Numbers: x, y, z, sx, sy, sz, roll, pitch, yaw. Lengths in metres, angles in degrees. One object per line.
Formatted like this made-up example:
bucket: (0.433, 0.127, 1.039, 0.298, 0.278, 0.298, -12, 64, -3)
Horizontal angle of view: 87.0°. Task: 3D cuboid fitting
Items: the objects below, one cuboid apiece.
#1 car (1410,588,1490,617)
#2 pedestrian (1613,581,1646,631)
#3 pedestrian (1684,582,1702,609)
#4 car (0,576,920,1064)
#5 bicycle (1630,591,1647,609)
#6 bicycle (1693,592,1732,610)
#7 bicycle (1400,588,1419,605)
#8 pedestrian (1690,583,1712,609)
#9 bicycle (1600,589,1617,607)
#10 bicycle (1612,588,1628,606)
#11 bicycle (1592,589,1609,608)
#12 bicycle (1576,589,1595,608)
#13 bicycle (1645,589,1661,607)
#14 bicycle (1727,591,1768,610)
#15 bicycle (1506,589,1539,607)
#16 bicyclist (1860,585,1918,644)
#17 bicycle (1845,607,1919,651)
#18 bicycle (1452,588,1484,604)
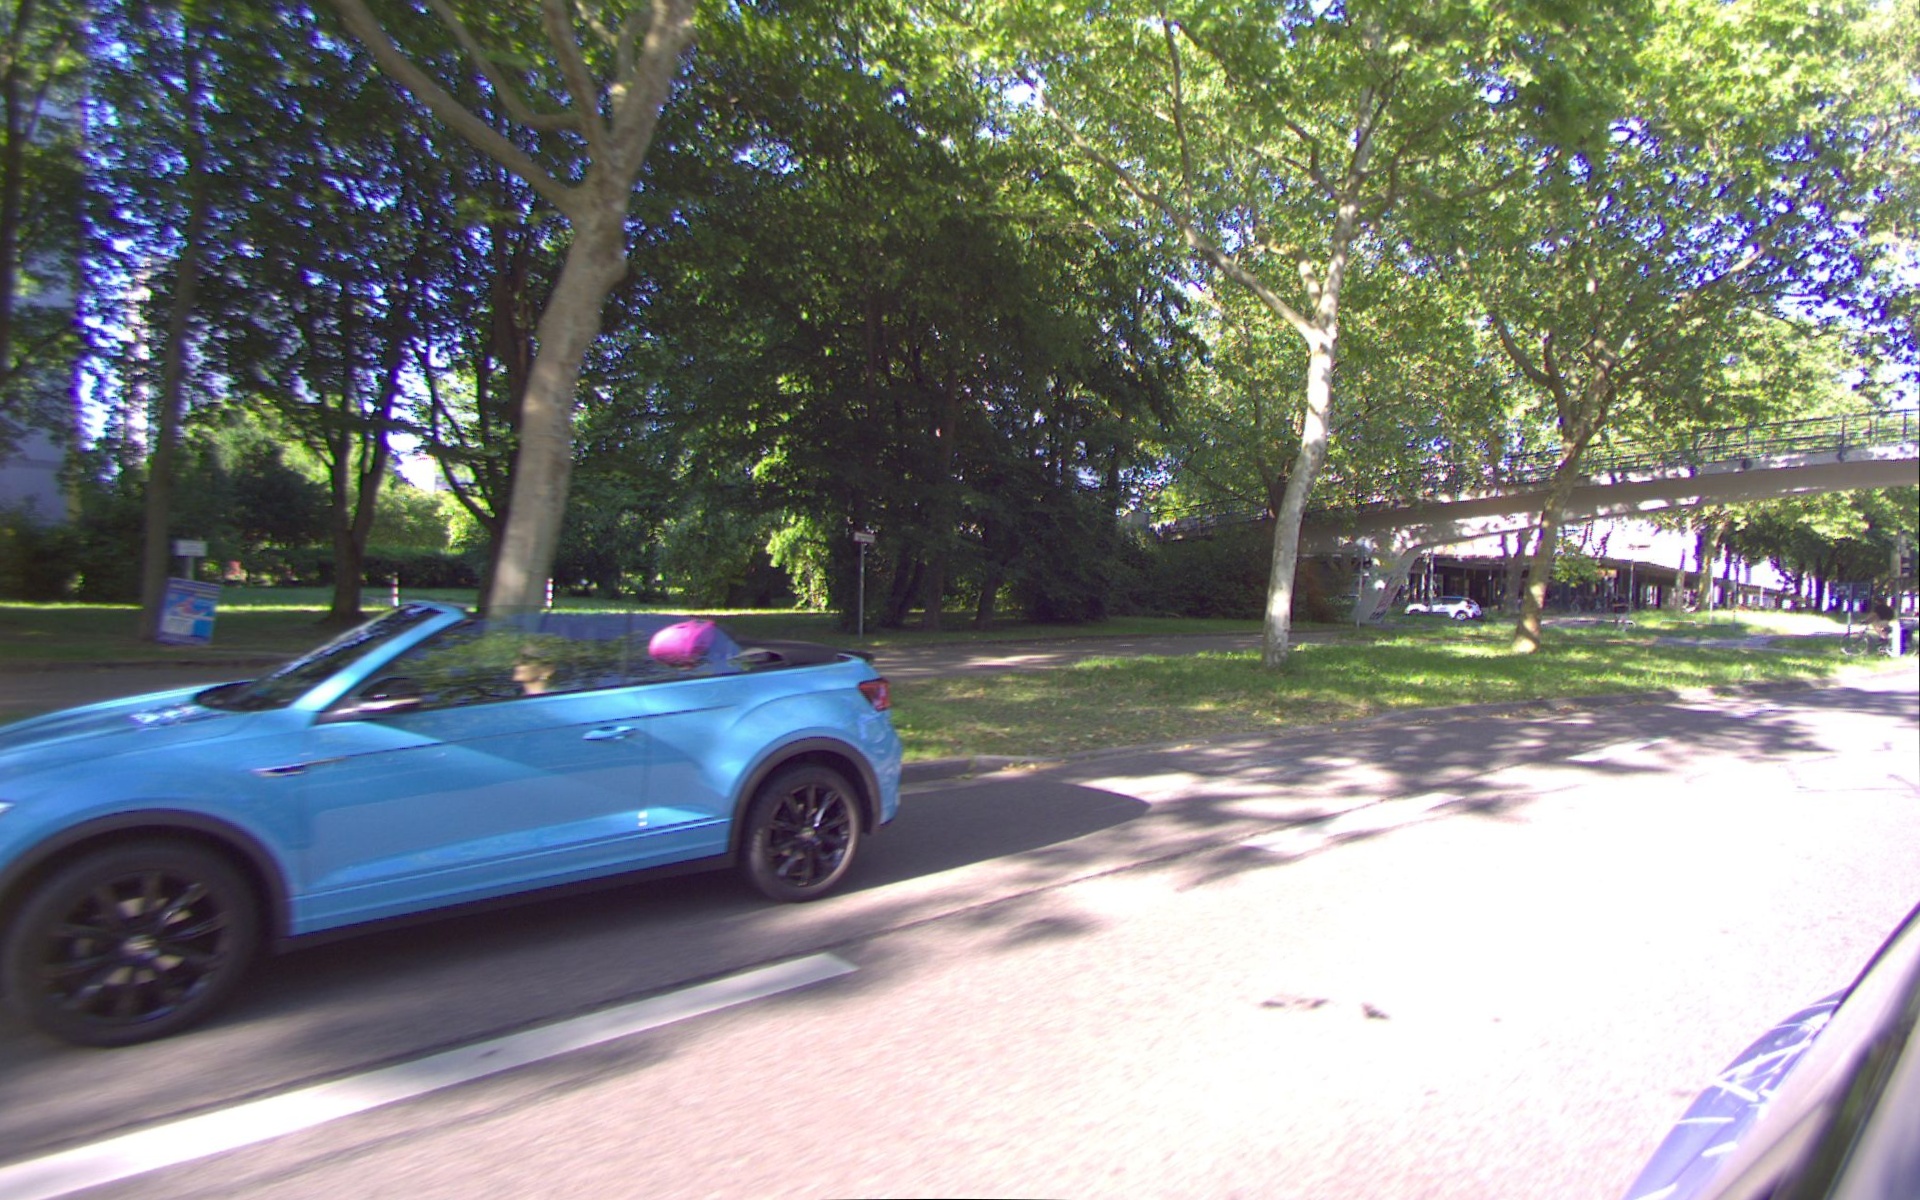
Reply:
car: (27.612, 0.108, 57.115, 1.680, 1.515, 3.732, 3, -2, -43)
pedestrian: (24.943, 0.215, 37.724, 0.725, 1.800, 0.660, 2, 0, -4)
pedestrian: (52.611, -0.318, 72.625, 0.963, 1.863, 0.939, 2, 1, 40)
car: (-2.329, 0.669, 4.773, 4.026, 1.502, 1.780, 0, 0, -39)
bicycle: (47.250, 0.006, 70.499, 1.776, 1.269, 0.576, 0, 0, -43)
bicycle: (51.864, 0.048, 69.766, 0.550, 1.172, 2.077, 1, 2, -27)
bicycle: (29.888, -0.244, 67.312, 0.504, 0.971, 2.164, 3, 5, 42)
pedestrian: (51.248, -0.276, 70.004, 1.126, 1.729, 0.722, 2, 1, 40)
bicycle: (45.108, -0.134, 70.424, 1.776, 1.269, 0.576, 0, 0, -43)
bicycle: (48.114, -0.210, 73.724, 1.776, 1.269, 0.576, 0, 0, -43)
bicycle: (43.670, -0.123, 68.970, 1.776, 1.269, 0.576, 0, 0, -43)
bicycle: (40.905, -0.103, 66.168, 1.776, 1.269, 0.576, 0, 0, -43)
bicycle: (50.652, -0.135, 73.941, 1.776, 1.269, 0.576, 0, 0, -43)
bicycle: (52.355, 0.002, 67.305, 2.063, 1.172, 0.554, 4, 2, 39)
bicycle: (37.494, -0.158, 67.456, 1.799, 1.129, 0.700, 3, 3, 42)
bicyclist: (26.928, 0.420, 29.332, 0.798, 1.652, 0.958, 2, 1, -27)
bicycle: (26.957, 0.839, 29.287, 0.798, 1.161, 1.839, 2, 1, -30)
bicycle: (35.025, -0.255, 69.829, 1.800, 0.966, 0.700, 5, 3, 42)
